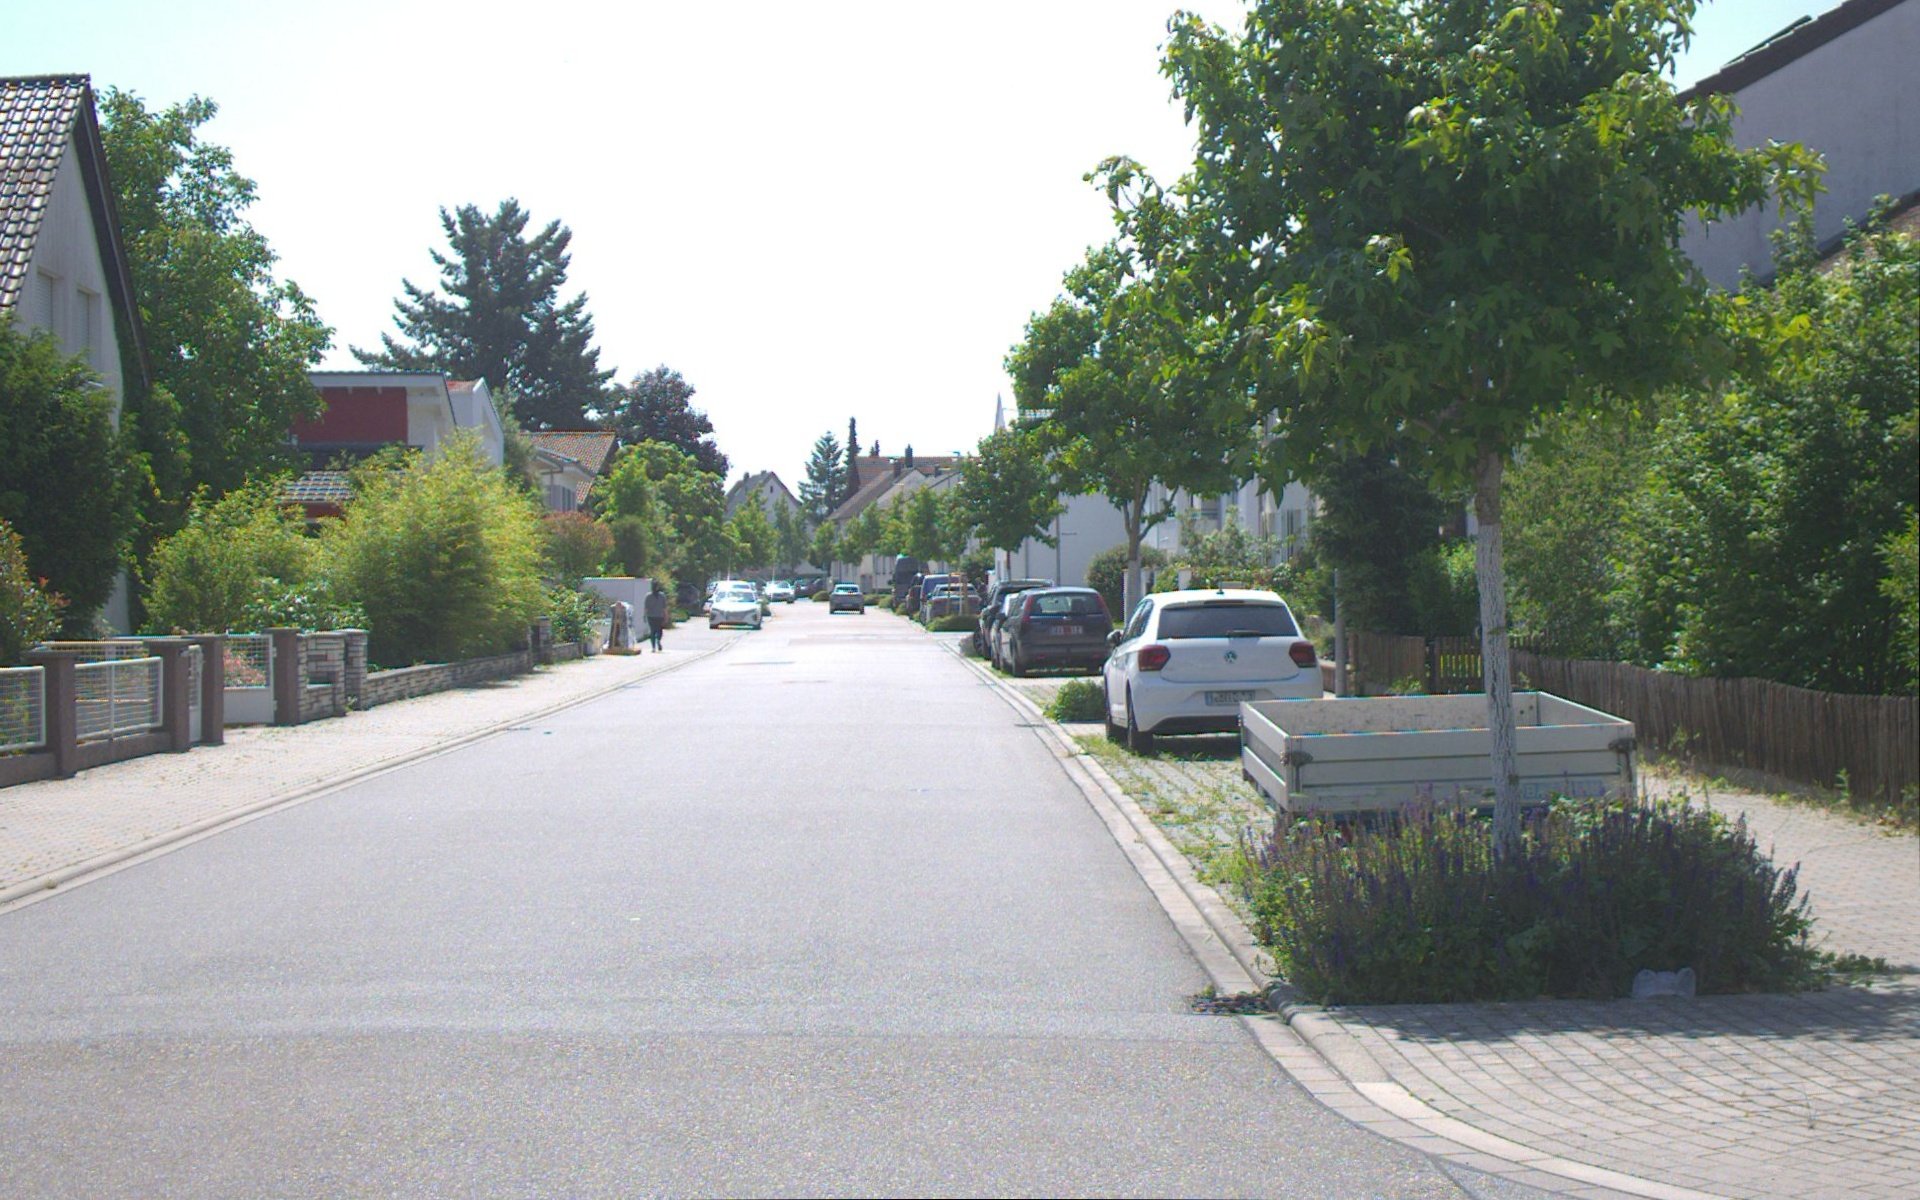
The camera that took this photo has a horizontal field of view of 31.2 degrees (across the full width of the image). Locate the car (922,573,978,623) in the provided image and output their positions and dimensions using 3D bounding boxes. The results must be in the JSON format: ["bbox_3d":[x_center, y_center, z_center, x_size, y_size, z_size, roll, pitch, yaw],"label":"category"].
[{"bbox_3d":[-0.409,-0.090,134.216,2.099,1.875,4.843,0,0,-1],"label":"car"}]

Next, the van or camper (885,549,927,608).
[{"bbox_3d":[-2.745,-1.099,173.455,1.993,2.931,4.000,0,0,-2],"label":"van or camper"}]

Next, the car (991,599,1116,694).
[{"bbox_3d":[1.570,0.759,58.980,1.741,1.528,4.449,0,0,-4],"label":"car"}]

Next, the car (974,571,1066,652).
[{"bbox_3d":[1.259,0.226,74.259,1.814,1.650,4.565,0,1,-1],"label":"car"}]

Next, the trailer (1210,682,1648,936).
[{"bbox_3d":[2.257,0.992,17.217,1.787,1.055,2.899,0,1,0],"label":"trailer"}]

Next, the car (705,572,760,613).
[{"bbox_3d":[-8.311,-0.283,125.813,1.852,1.483,4.385,0,0,-2],"label":"car"}]

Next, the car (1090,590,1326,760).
[{"bbox_3d":[2.213,0.642,31.554,1.814,1.415,3.868,0,1,-1],"label":"car"}]

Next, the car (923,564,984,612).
[{"bbox_3d":[-0.231,-0.416,117.322,1.773,1.590,4.280,0,0,-4],"label":"car"}]

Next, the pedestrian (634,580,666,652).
[{"bbox_3d":[-7.599,0.387,84.273,0.714,1.741,0.961,0,0,-1],"label":"pedestrian"}]

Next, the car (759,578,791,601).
[{"bbox_3d":[-12.159,-0.701,226.124,1.853,1.473,4.700,0,0,0],"label":"car"}]

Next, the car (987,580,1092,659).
[{"bbox_3d":[1.469,0.348,64.872,1.814,1.415,4.093,0,1,-1],"label":"car"}]

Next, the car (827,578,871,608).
[{"bbox_3d":[-5.441,-0.371,168.966,1.993,1.425,4.000,-1,0,0],"label":"car"}]
